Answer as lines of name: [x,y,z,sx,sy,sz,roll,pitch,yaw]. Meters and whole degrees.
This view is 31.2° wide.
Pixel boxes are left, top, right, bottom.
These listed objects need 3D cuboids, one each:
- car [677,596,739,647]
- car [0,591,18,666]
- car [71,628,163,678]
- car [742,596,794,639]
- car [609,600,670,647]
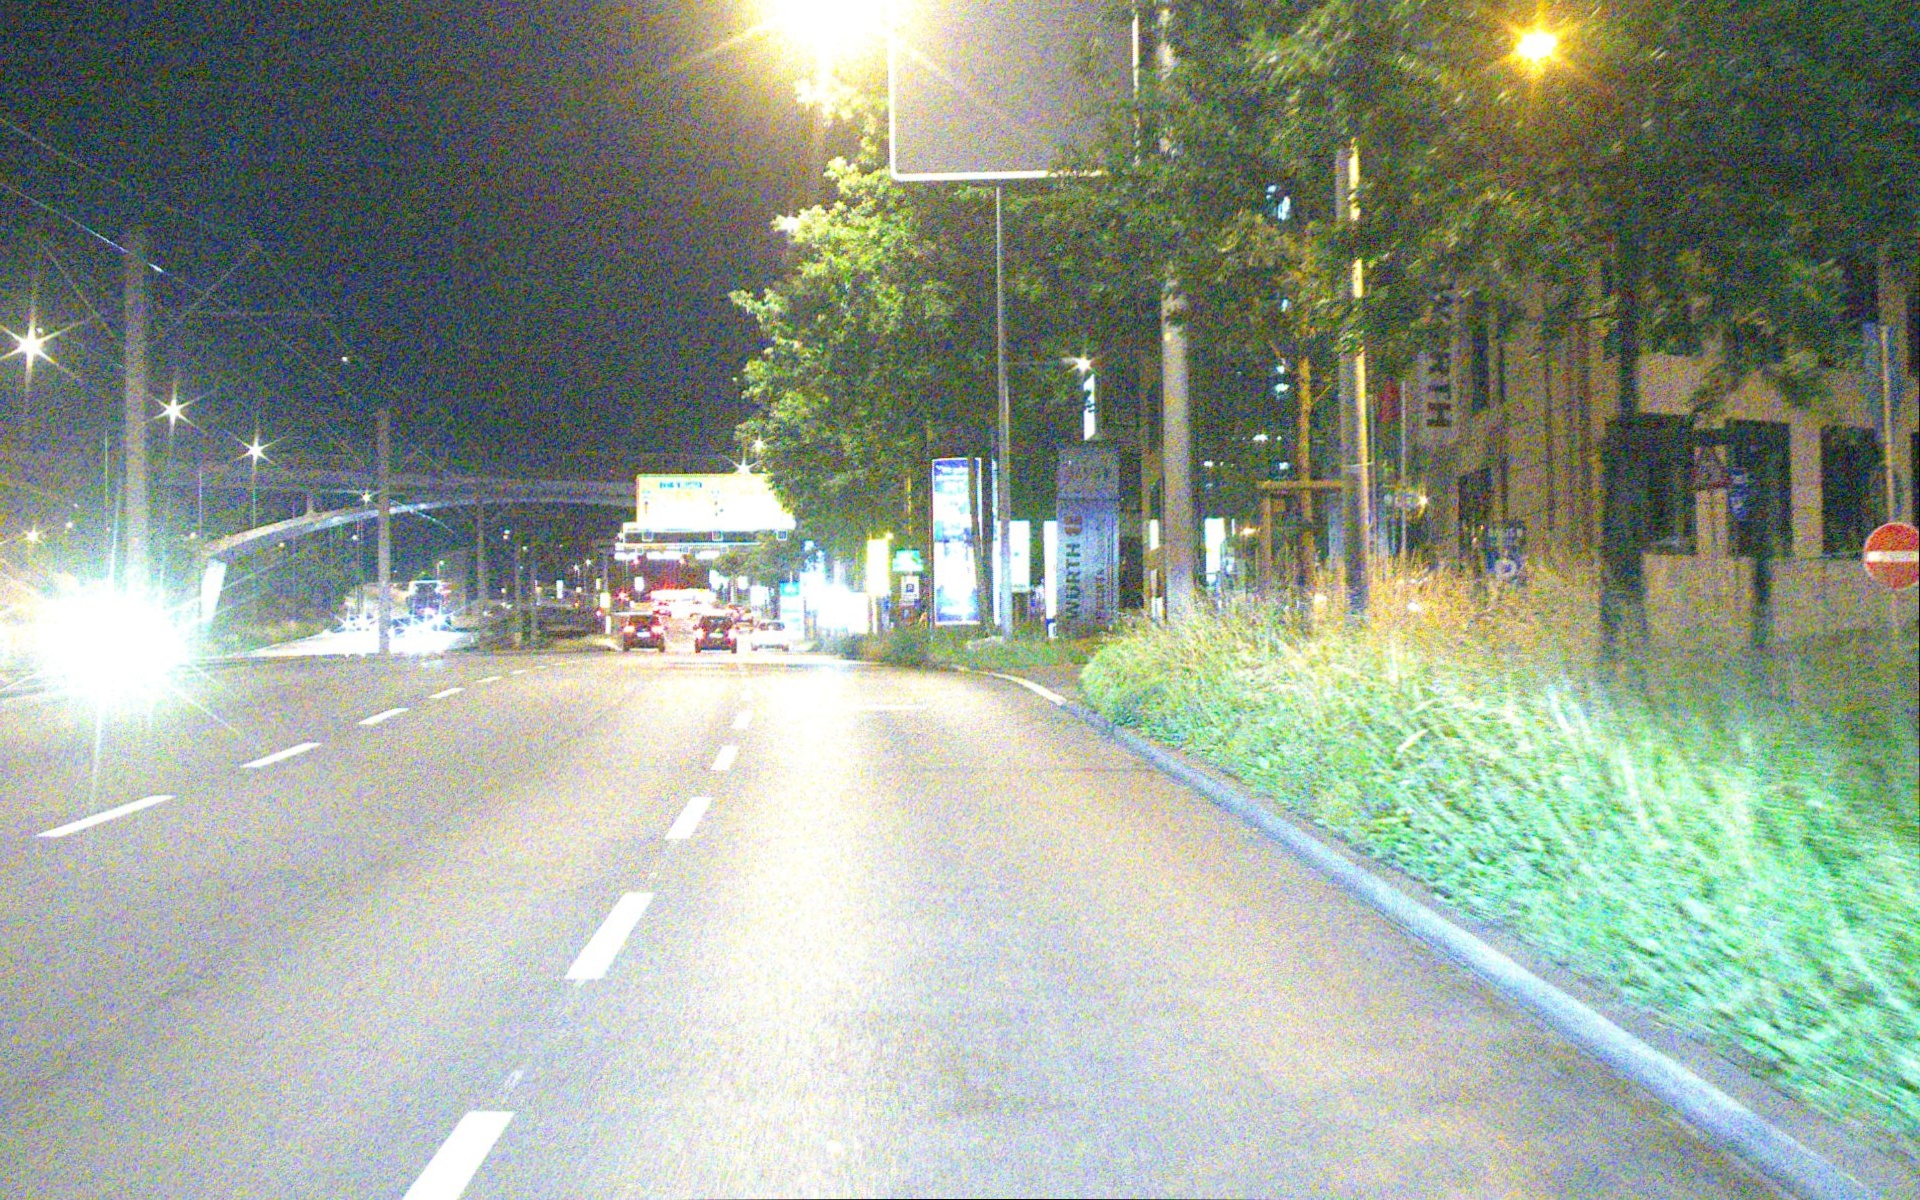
car: [-10.754,0.901,146.987,2.356,2.122,4.826,0,0,-1]
car: [-19.259,0.582,65.252,1.620,1.435,4.338,-2,0,-2]
car: [-25.815,1.598,105.383,1.866,1.424,4.957,1,0,-3]
car: [-9.572,0.854,171.751,2.427,2.106,4.826,0,0,-1]
car: [-14.093,1.008,151.377,2.262,2.007,4.826,0,0,-1]
